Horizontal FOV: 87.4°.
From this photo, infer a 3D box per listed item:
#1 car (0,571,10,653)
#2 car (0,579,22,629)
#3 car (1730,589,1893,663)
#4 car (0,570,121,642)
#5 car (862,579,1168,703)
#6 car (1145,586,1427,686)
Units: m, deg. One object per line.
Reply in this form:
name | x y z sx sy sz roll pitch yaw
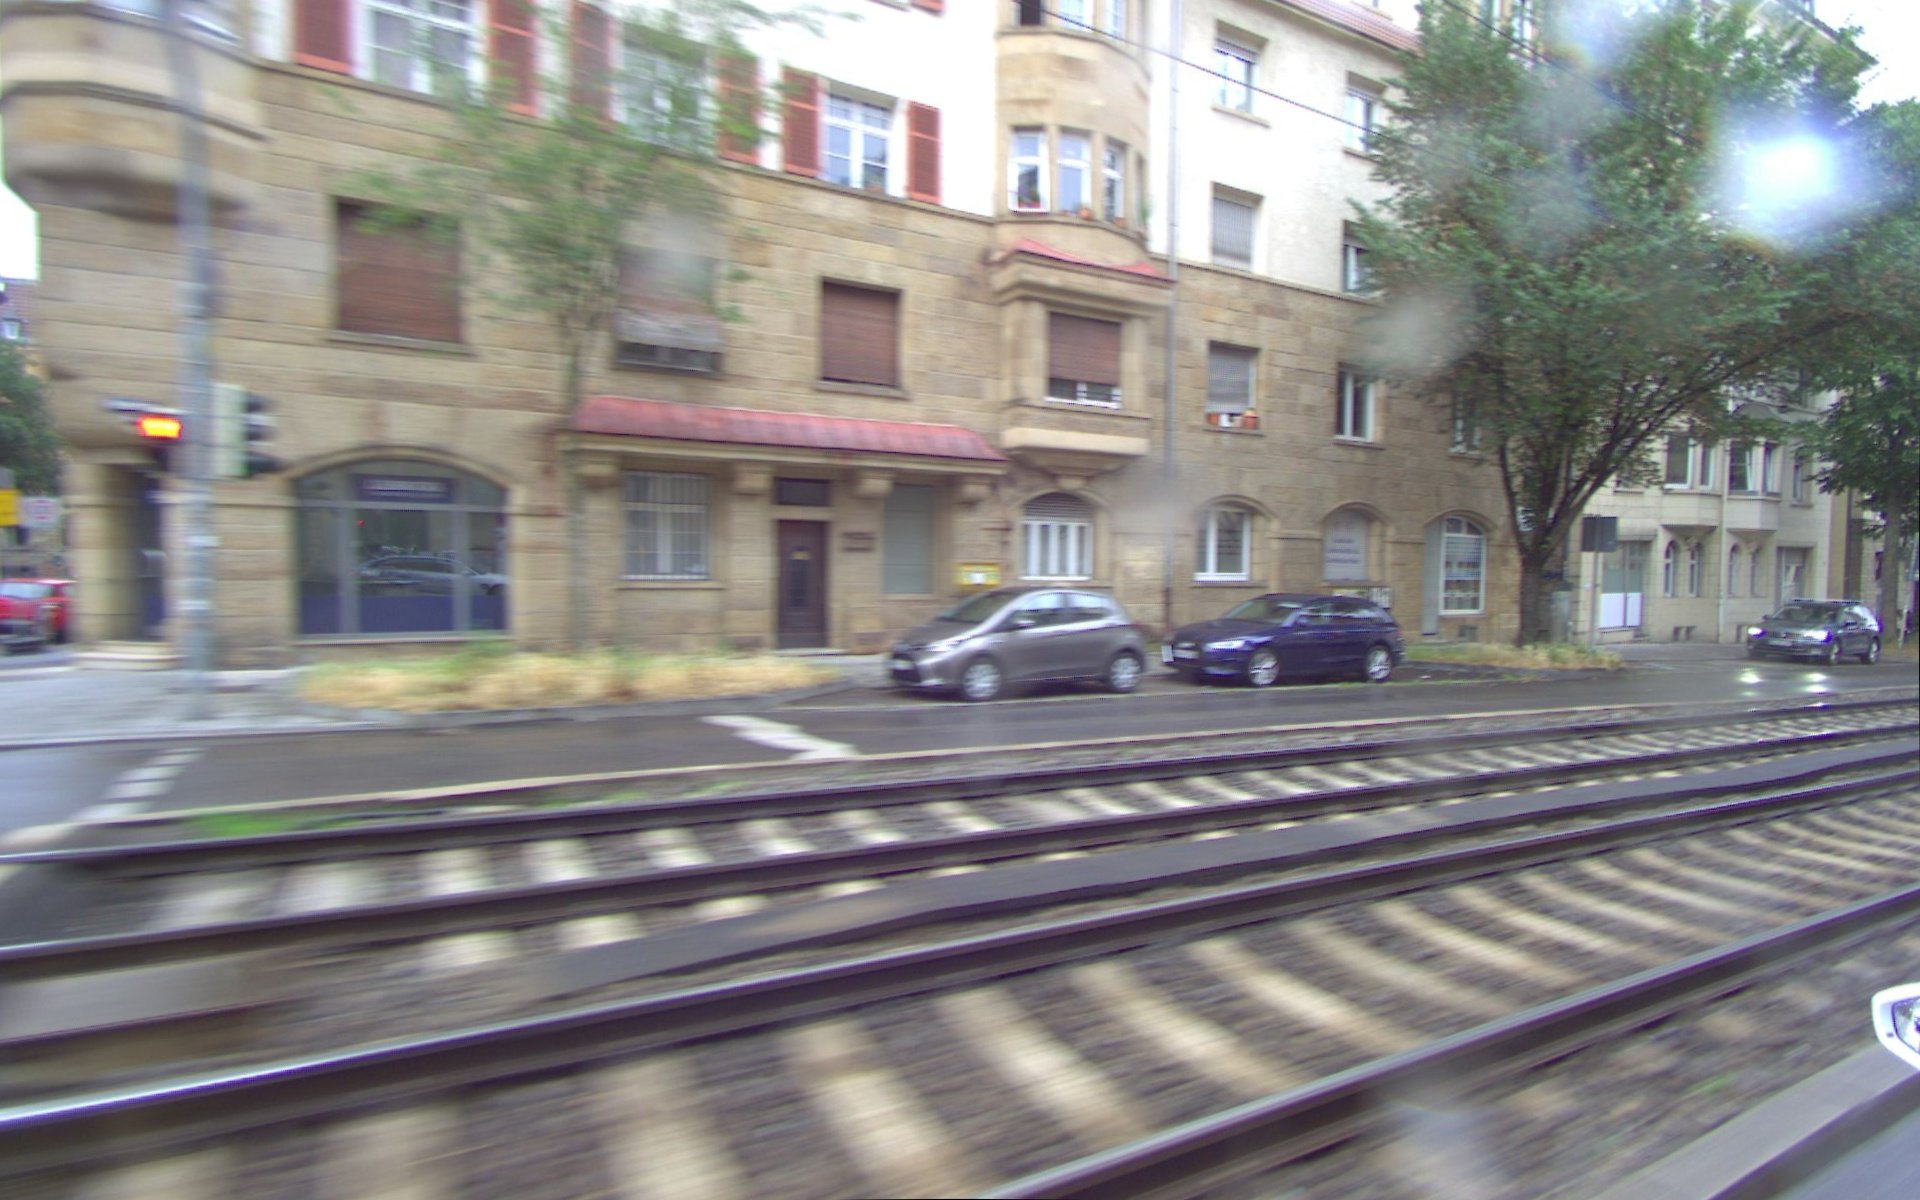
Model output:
car | -18.699 0.238 17.761 1.978 1.595 3.964 1 0 -32
car | -38.746 0.126 39.268 2.046 1.932 3.969 1 0 -29
car | 23.421 0.664 27.596 4.724 1.766 1.942 0 4 -31
car | -22.123 0.104 24.349 1.976 1.595 3.969 1 0 -29
car | 0.839 0.543 14.312 4.129 1.550 1.681 2 0 -31
car | 5.605 0.590 17.035 4.922 1.479 1.771 2 0 -31
